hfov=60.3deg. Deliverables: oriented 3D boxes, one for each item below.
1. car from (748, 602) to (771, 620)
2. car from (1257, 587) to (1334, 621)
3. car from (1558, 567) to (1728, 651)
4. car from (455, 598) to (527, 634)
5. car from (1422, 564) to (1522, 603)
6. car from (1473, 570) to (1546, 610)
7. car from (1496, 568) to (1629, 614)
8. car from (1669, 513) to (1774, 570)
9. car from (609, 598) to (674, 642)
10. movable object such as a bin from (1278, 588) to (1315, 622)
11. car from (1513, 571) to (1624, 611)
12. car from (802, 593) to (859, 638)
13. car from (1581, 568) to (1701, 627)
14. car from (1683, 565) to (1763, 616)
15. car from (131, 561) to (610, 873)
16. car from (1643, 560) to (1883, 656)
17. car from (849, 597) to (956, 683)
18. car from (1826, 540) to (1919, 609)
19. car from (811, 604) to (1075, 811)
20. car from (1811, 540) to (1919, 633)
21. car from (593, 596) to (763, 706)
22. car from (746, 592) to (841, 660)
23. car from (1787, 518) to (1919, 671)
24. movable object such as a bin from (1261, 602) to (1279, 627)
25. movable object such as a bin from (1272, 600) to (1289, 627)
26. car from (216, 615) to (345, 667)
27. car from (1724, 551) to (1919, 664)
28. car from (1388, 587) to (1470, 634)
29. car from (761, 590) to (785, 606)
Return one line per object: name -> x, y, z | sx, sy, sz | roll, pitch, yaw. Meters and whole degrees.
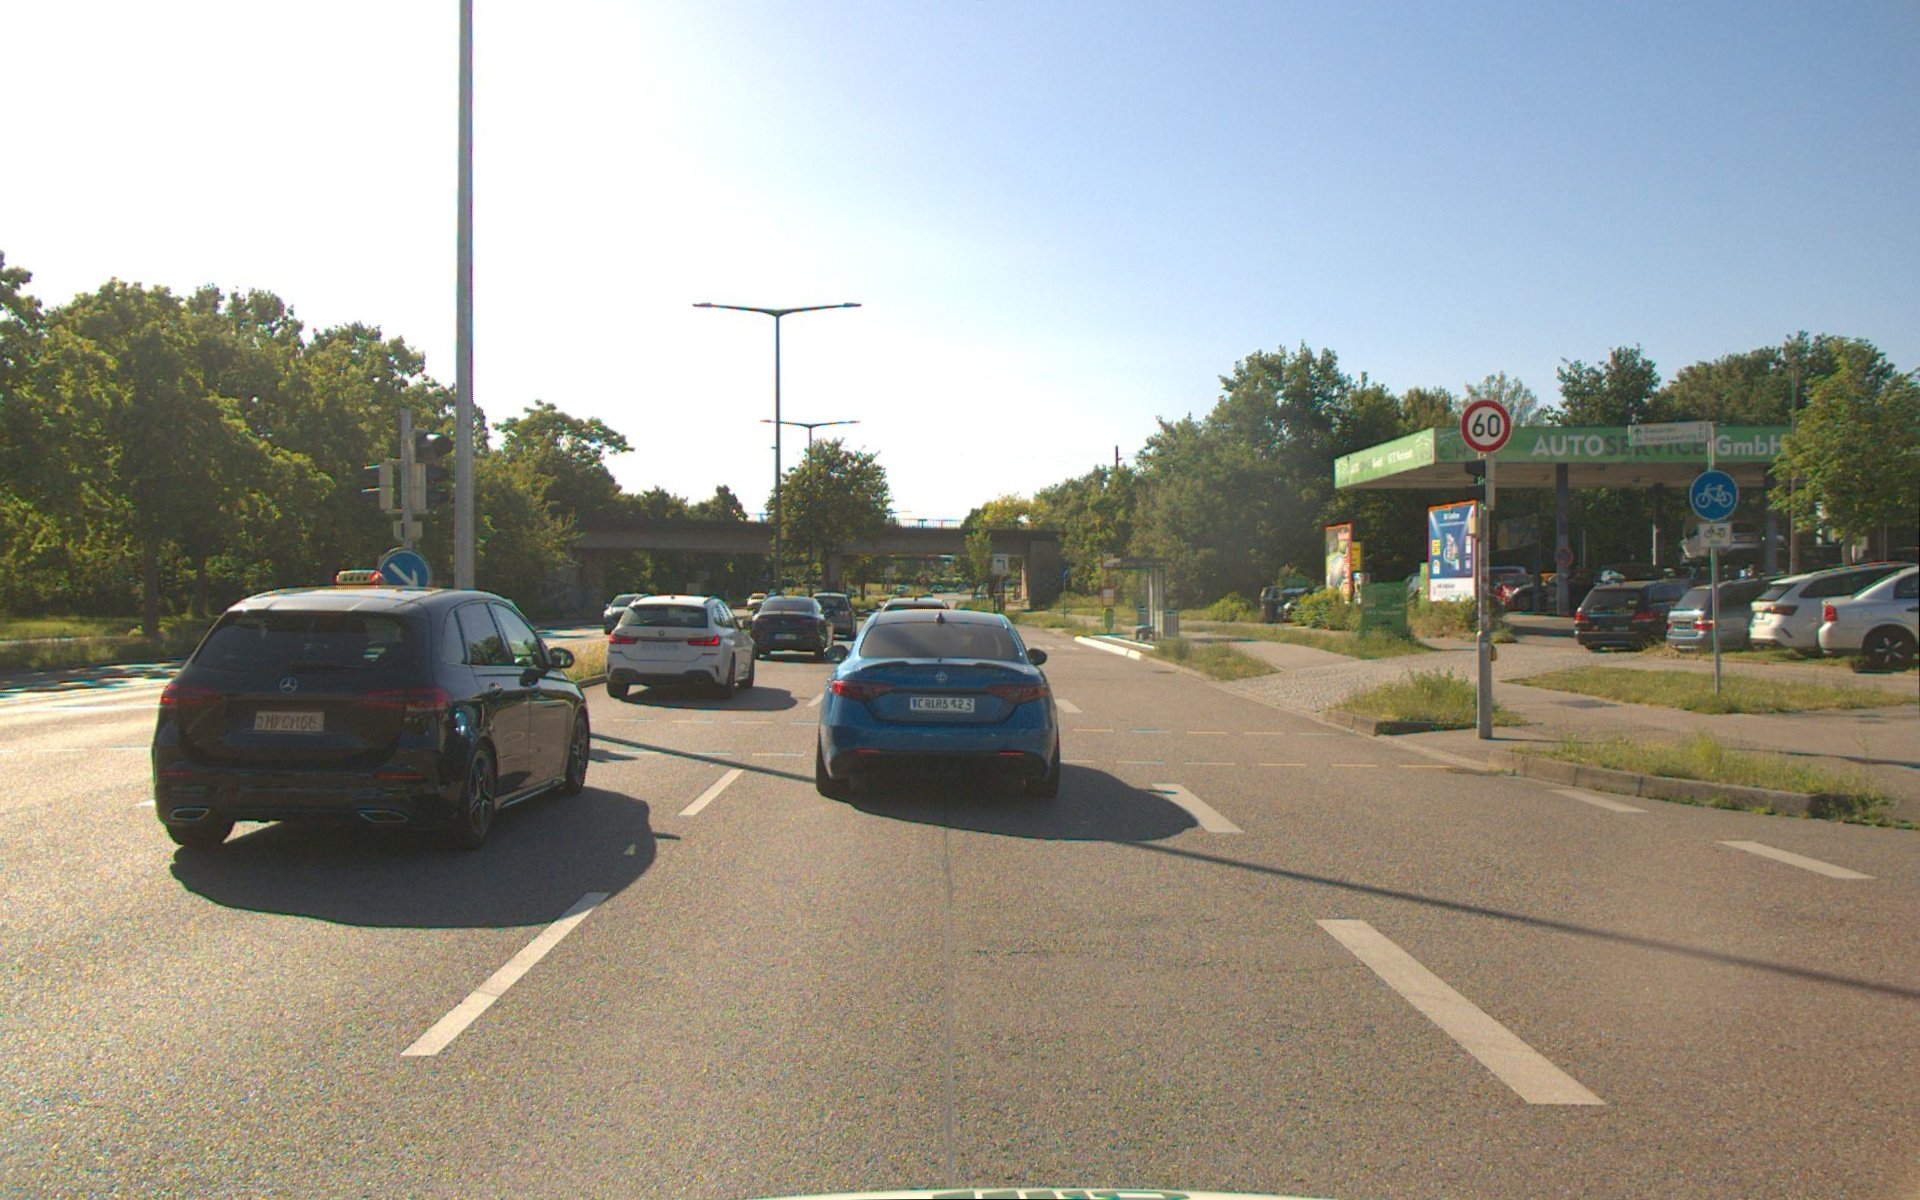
car -> -17.795, 0.990, 147.092 | 1.608, 1.476, 4.110 | -2, 0, -1
car -> 15.633, 0.191, 77.100 | 3.216, 1.512, 1.772 | 1, 0, 0
car -> 14.797, 0.163, 35.687 | 1.867, 1.557, 4.807 | -3, 0, 42
car -> -20.200, 0.683, 71.437 | 1.953, 1.500, 4.195 | -1, 0, -1
car -> 23.356, -0.742, 75.546 | 3.954, 1.558, 1.734 | -2, 0, 0
car -> 23.559, -0.422, 71.047 | 1.678, 1.635, 4.135 | 1, 0, -1
car -> 21.061, -0.313, 57.926 | 1.979, 1.512, 3.947 | 1, 0, -37
car -> 26.347, -1.982, 57.332 | 1.879, 1.786, 3.778 | -1, 0, 0
car -> -12.784, 0.801, 66.658 | 1.836, 1.671, 4.170 | -2, 0, -1
movable object such as a bin -> 14.487, 0.223, 71.208 | 0.981, 1.453, 1.240 | 0, 0, -44
car -> 24.787, -0.353, 67.457 | 3.909, 1.543, 1.696 | -1, -1, -5
car -> -4.545, 0.526, 58.486 | 1.743, 1.479, 4.181 | -1, 0, -1
car -> 20.658, -0.061, 50.340 | 1.953, 1.676, 3.999 | 1, 0, -1
car -> 22.767, -0.305, 49.269 | 1.657, 1.445, 3.693 | 1, 1, 33
car -> -3.573, 0.630, 10.899 | 1.673, 1.626, 4.223 | 1, 0, -1
car -> 15.101, 0.153, 31.251 | 3.534, 1.312, 1.841 | -8, -1, 0
car -> -1.046, 0.708, 31.182 | 1.845, 1.479, 4.525 | 1, 0, -1
car -> 25.481, -0.776, 44.108 | 3.690, 1.574, 1.848 | -6, -2, -2
car -> -0.154, 0.768, 13.832 | 1.845, 1.431, 4.223 | 1, 0, -1
car -> 19.533, -0.305, 33.754 | 1.649, 1.814, 4.593 | -4, -1, -3
car -> -4.149, 0.708, 25.045 | 1.845, 1.479, 4.525 | 1, 0, -1
car -> -3.875, 0.593, 39.170 | 1.845, 1.479, 4.525 | 1, 0, -1
car -> 14.760, -0.223, 24.783 | 3.915, 2.047, 1.683 | -8, 0, 32
movable object such as a bin -> 13.542, 0.616, 72.270 | 0.577, 1.093, 0.502 | 0, 0, -43
movable object such as a bin -> 13.951, 0.585, 71.921 | 0.577, 1.140, 0.502 | 0, 0, -43
car -> -19.834, 1.157, 48.508 | 1.953, 1.400, 4.622 | -1, 0, -1
car -> 15.325, 0.068, 28.055 | 3.837, 1.477, 1.726 | -8, -1, 10
car -> 16.751, 0.363, 59.231 | 1.709, 1.600, 4.248 | -1, 0, 0
car -> -17.831, -0.190, 157.663 | 1.780, 1.460, 4.629 | -2, 0, -1
